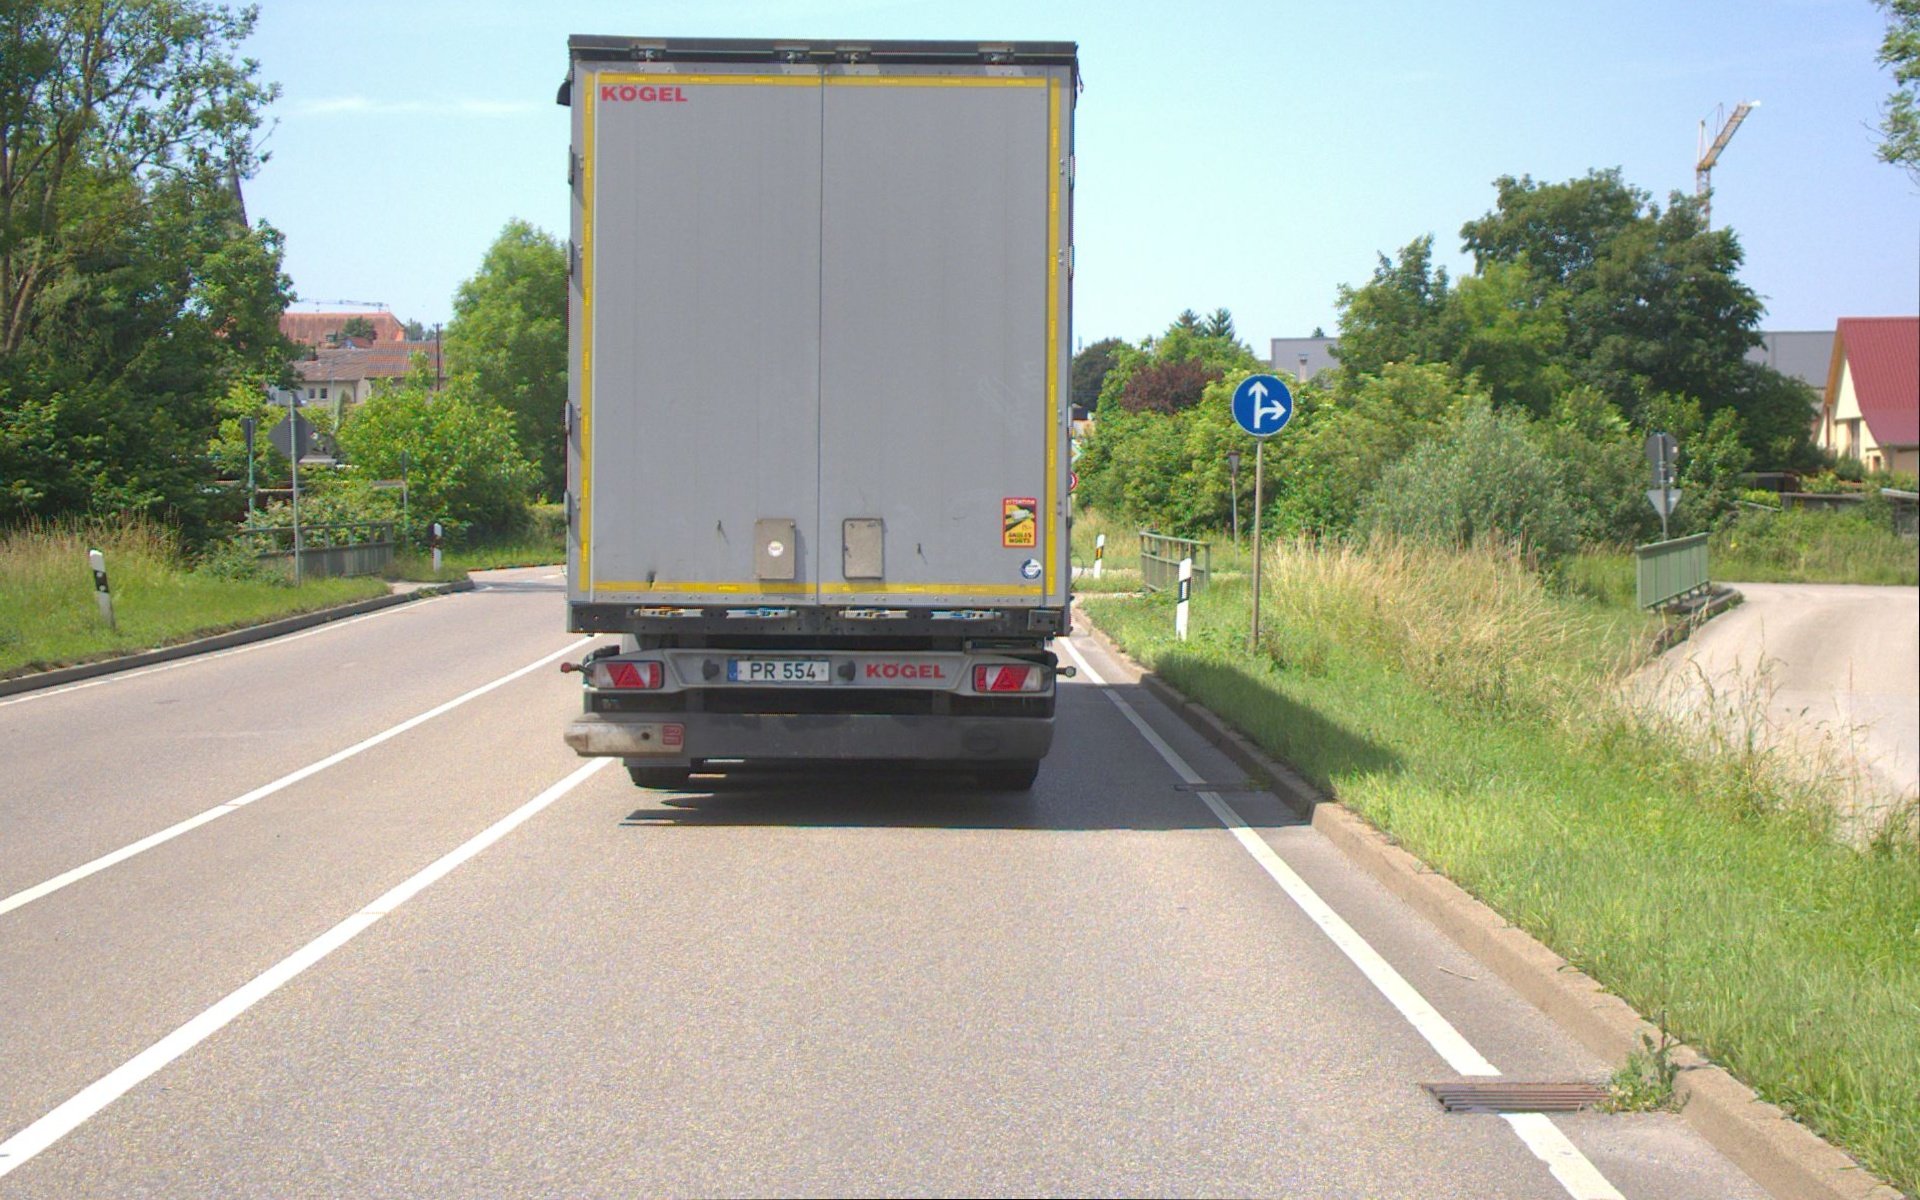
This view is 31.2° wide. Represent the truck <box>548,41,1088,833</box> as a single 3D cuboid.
[{"bbox_3d":[-0.814,-0.887,21.488,2.647,3.903,8.826,1,1,-1],"label":"truck"}]

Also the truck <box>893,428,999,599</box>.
[{"bbox_3d":[-0.492,-2.420,99.049,2.646,4.585,10.817,2,1,-2],"label":"truck"}]
